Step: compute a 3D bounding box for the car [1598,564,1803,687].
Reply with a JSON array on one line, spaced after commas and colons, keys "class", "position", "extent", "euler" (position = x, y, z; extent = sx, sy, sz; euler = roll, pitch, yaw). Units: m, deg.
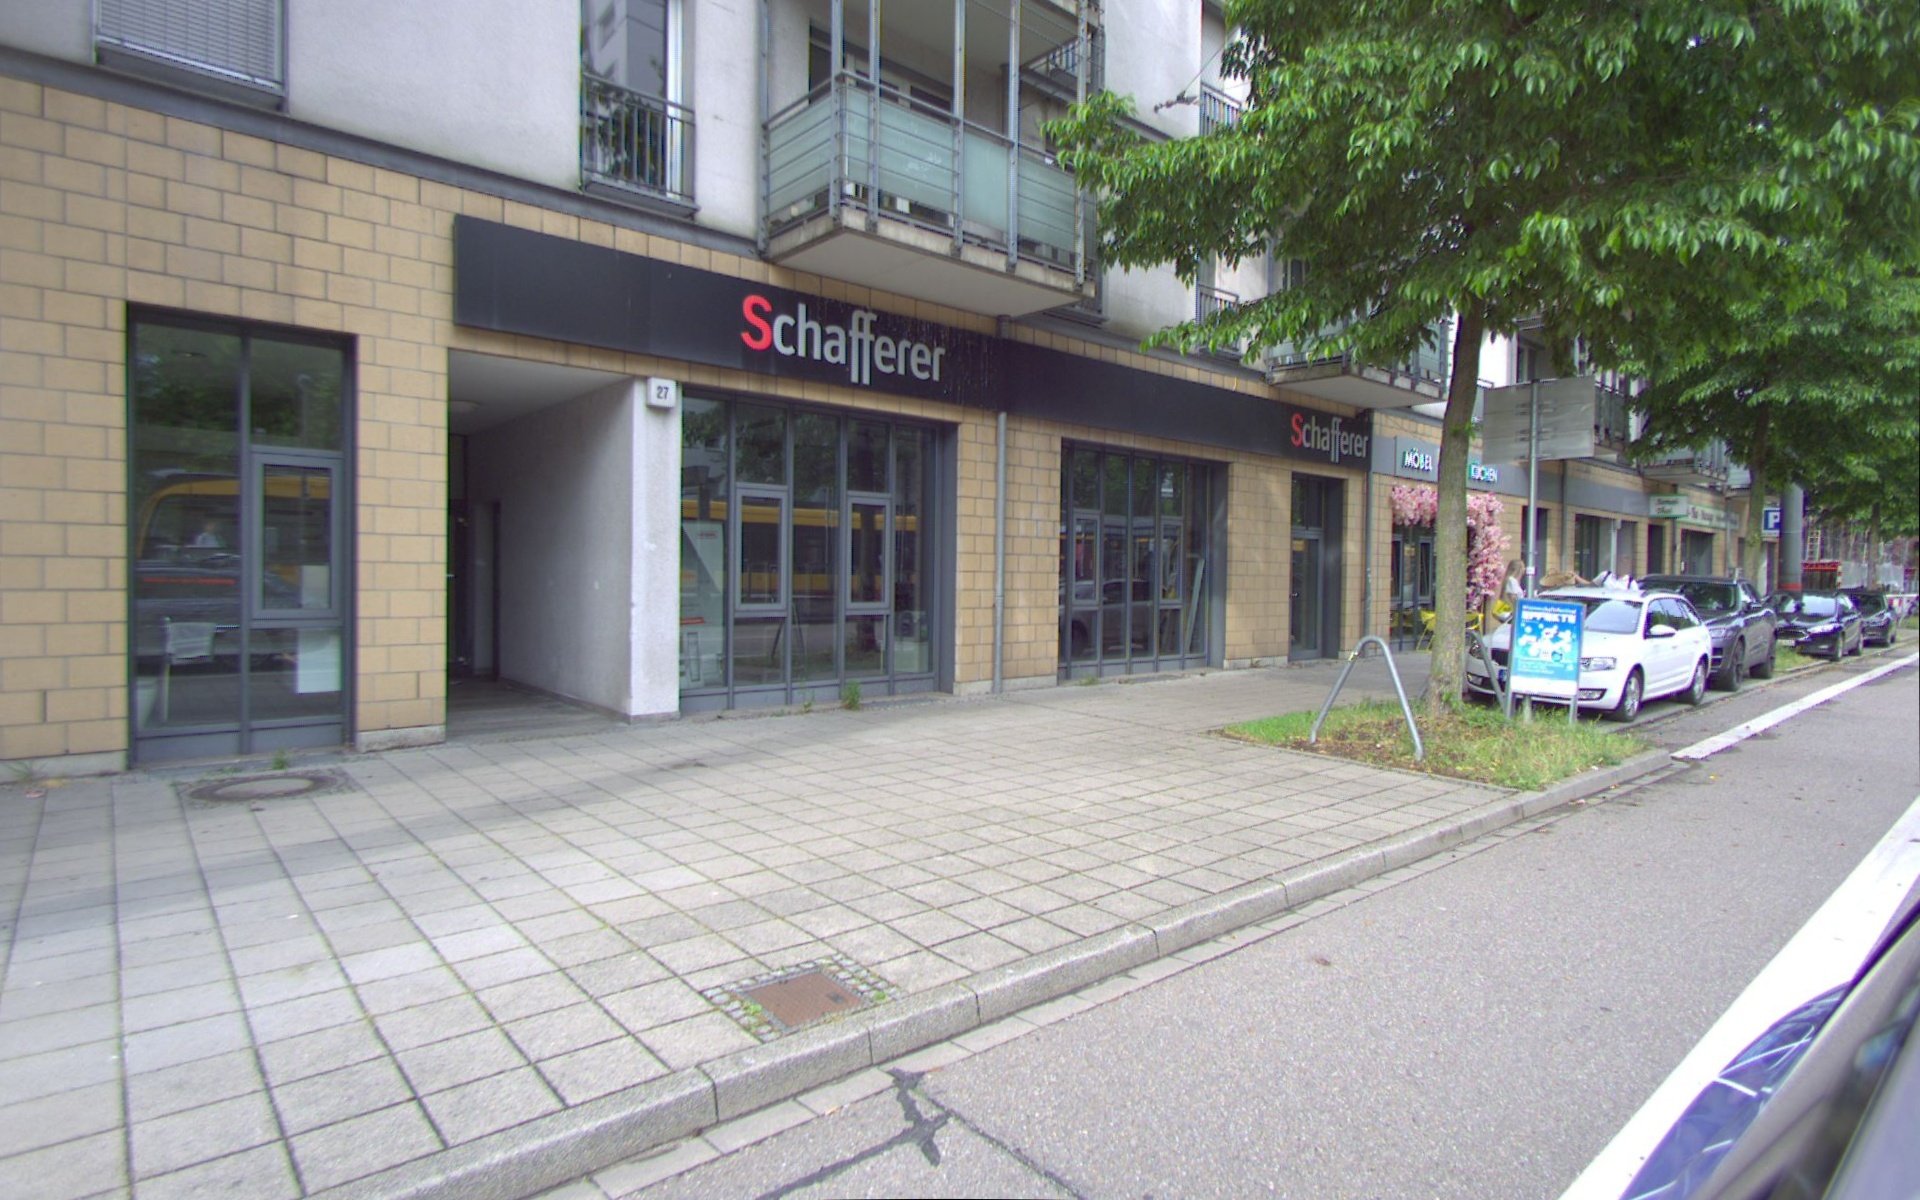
[{"class": "car", "position": [11.784, 0.319, 16.031], "extent": [3.732, 1.630, 1.738], "euler": [-1, 5, -41]}]

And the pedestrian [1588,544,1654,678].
[{"class": "pedestrian", "position": [9.747, 0.148, 14.925], "extent": [0.588, 1.907, 0.656], "euler": [0, 1, -41]}]

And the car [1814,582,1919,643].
[{"class": "car", "position": [24.146, 0.288, 26.873], "extent": [3.603, 1.417, 1.612], "euler": [-1, 5, -41]}]

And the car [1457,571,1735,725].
[{"class": "car", "position": [8.112, 0.475, 12.757], "extent": [4.233, 1.539, 1.738], "euler": [-1, 5, -41]}]

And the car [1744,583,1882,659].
[{"class": "car", "position": [18.625, 0.387, 22.047], "extent": [4.095, 1.394, 1.612], "euler": [-1, 5, -41]}]

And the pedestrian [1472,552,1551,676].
[{"class": "pedestrian", "position": [7.938, 0.188, 14.583], "extent": [0.724, 1.738, 0.618], "euler": [1, 2, 0]}]
